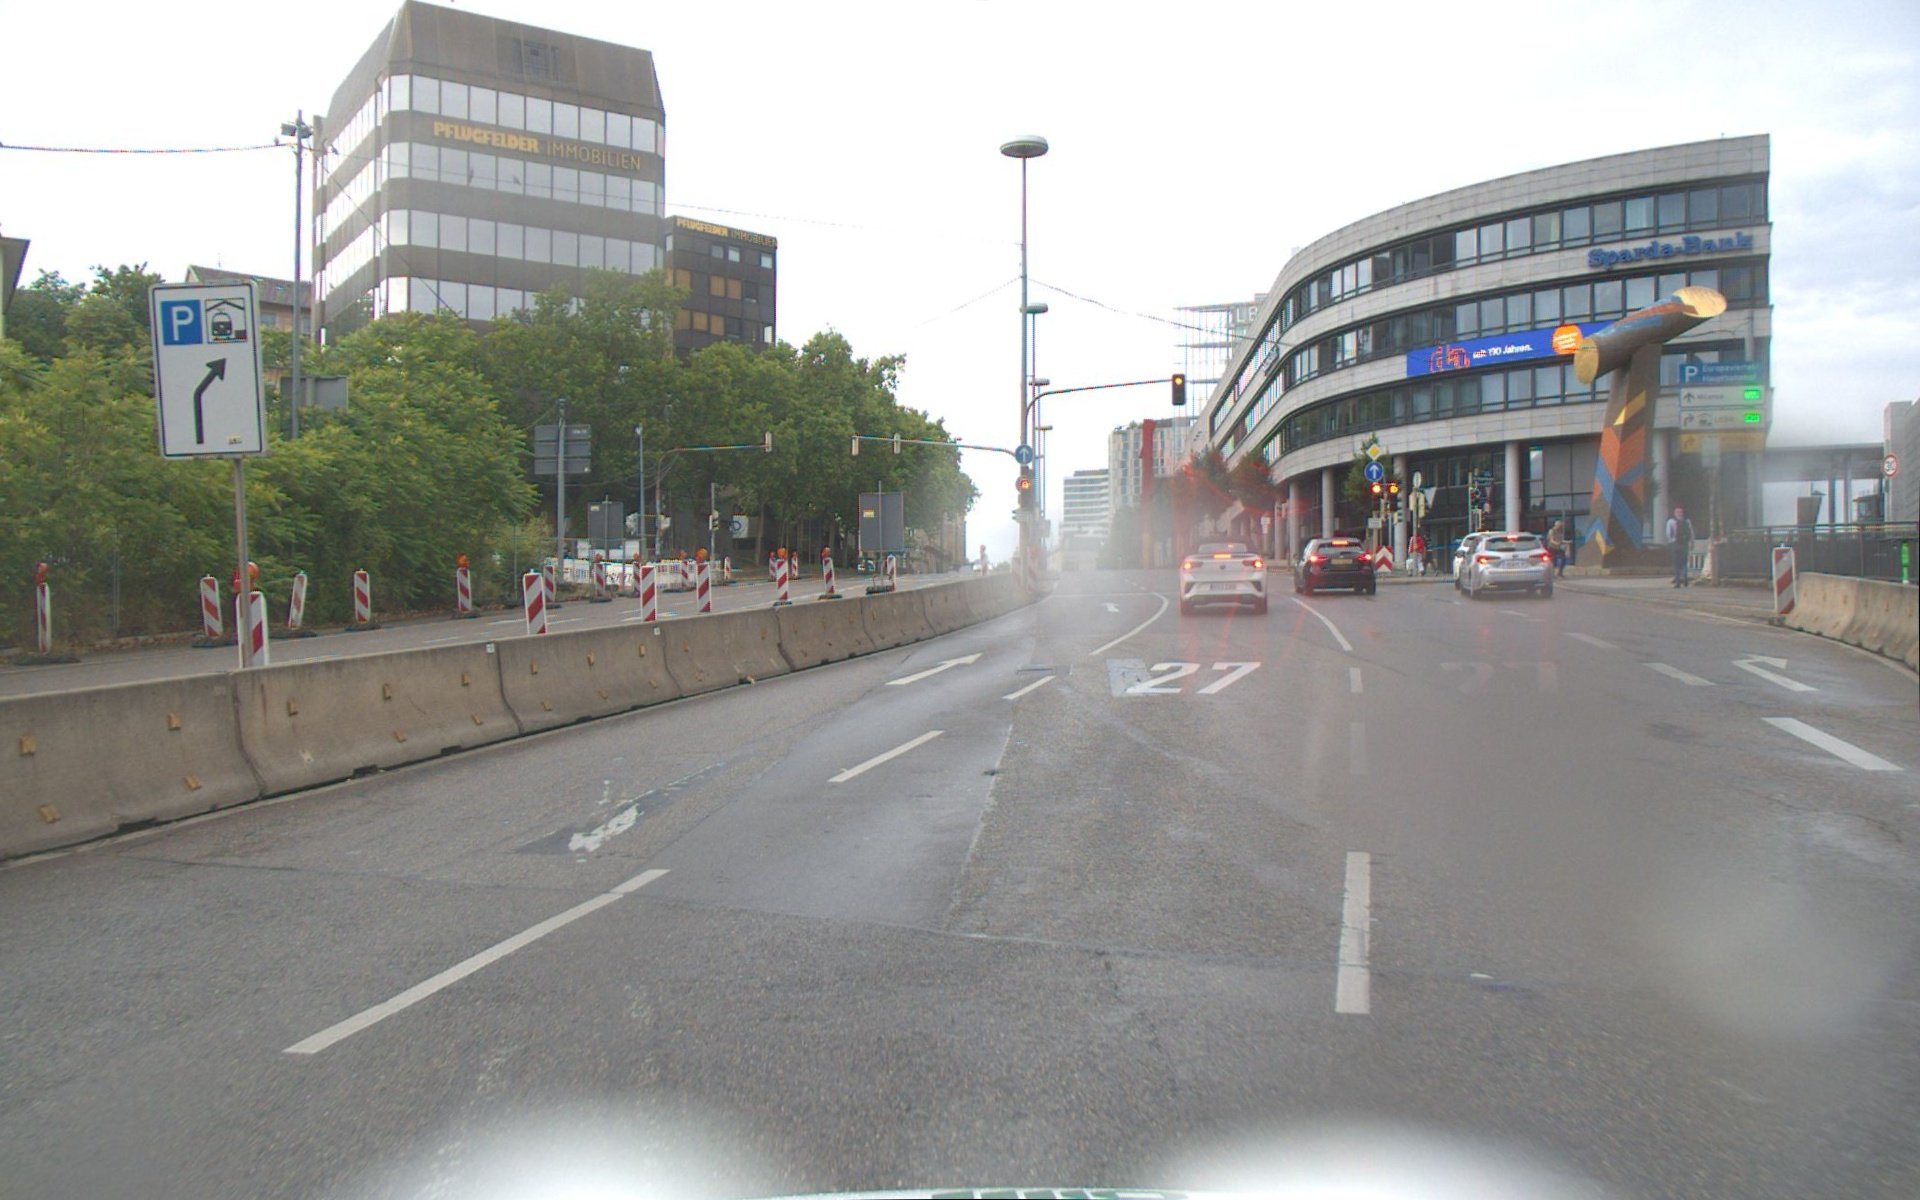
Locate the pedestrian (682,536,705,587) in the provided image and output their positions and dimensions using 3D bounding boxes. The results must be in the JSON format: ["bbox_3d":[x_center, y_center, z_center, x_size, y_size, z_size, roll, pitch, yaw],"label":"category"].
[{"bbox_3d":[-10.258,-1.490,63.693,0.658,1.935,0.776,-1,-1,7],"label":"pedestrian"}]

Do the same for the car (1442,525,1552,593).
[{"bbox_3d":[12.282,-0.919,38.059,1.664,1.476,4.620,0,1,8],"label":"car"}]

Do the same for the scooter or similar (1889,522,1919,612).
[{"bbox_3d":[12.565,-0.436,21.921,0.341,1.183,0.573,-1,0,19],"label":"scooter or similar"}]

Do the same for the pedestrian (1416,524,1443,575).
[{"bbox_3d":[18.163,-1.940,64.013,0.825,1.938,0.730,-1,1,30],"label":"pedestrian"}]

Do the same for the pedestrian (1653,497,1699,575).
[{"bbox_3d":[16.351,-1.443,37.795,0.714,1.741,0.843,0,-1,4],"label":"pedestrian"}]

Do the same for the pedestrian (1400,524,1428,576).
[{"bbox_3d":[17.326,-1.909,63.103,0.825,1.938,0.859,-1,-1,30],"label":"pedestrian"}]

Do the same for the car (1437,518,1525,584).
[{"bbox_3d":[14.041,-1.320,44.423,1.736,1.662,4.579,0,2,24],"label":"car"}]

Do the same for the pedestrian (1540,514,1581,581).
[{"bbox_3d":[19.419,-1.702,53.525,0.839,2.135,0.900,1,1,-19],"label":"pedestrian"}]

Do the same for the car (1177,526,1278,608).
[{"bbox_3d":[5.561,-0.724,34.479,1.922,1.575,4.223,-1,2,9],"label":"car"}]

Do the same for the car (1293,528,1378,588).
[{"bbox_3d":[9.560,-1.049,42.366,1.717,1.432,4.231,1,1,7],"label":"car"}]

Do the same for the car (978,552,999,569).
[{"bbox_3d":[2.595,-3.596,150.123,1.724,1.486,4.363,-2,2,4],"label":"car"}]

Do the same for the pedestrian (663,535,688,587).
[{"bbox_3d":[-10.980,-1.498,63.840,0.745,1.956,0.742,-1,-1,7],"label":"pedestrian"}]

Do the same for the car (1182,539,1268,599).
[{"bbox_3d":[6.867,-0.824,43.132,1.703,1.468,4.002,-1,2,2],"label":"car"}]
